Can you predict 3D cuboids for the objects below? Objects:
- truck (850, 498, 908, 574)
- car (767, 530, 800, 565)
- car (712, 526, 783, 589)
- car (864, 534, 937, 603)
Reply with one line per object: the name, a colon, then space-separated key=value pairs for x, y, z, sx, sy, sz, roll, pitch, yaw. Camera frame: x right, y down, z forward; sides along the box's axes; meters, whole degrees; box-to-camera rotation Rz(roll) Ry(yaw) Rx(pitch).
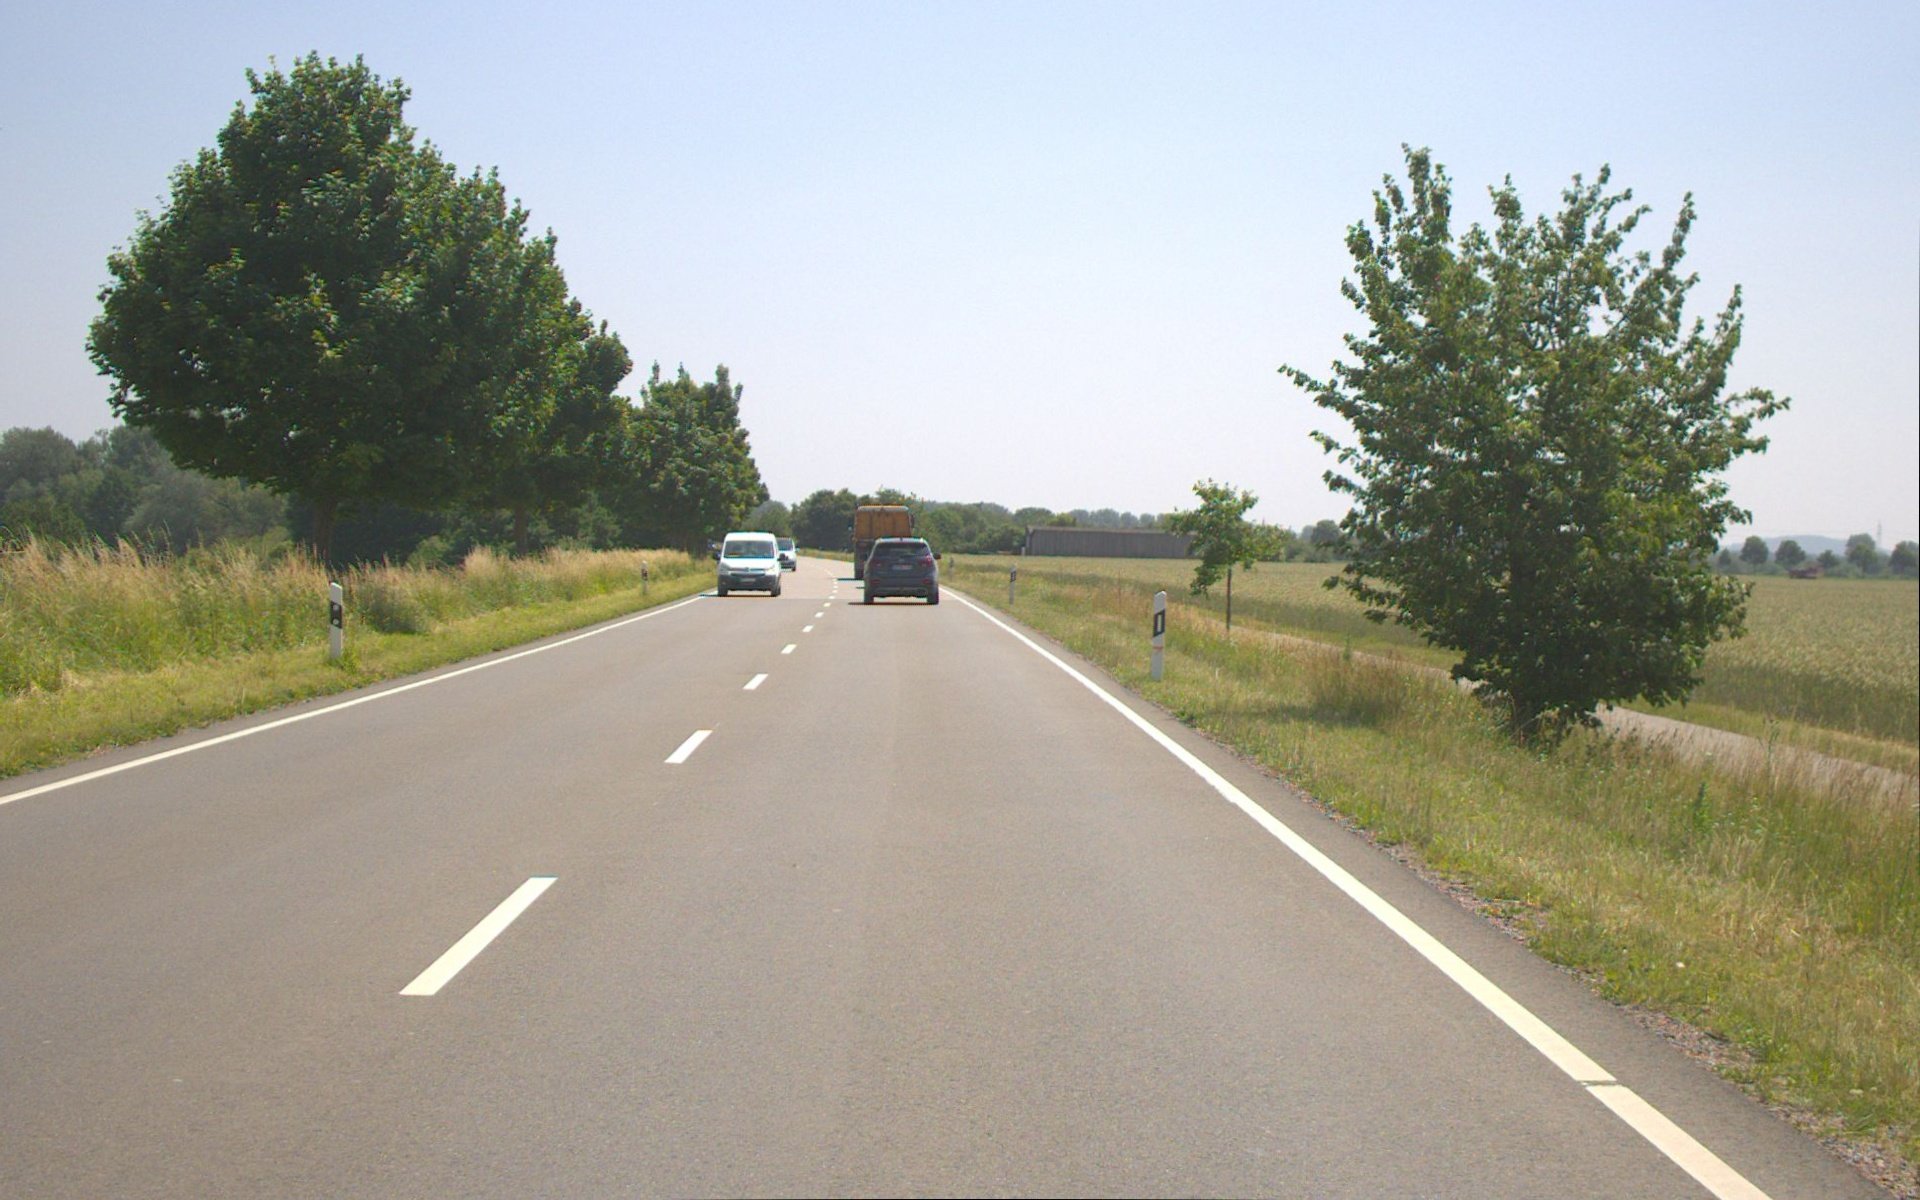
truck: x=-3.481 y=-2.721 z=147.573 sx=2.370 sy=3.129 sz=8.748 roll=1 pitch=1 yaw=-1
car: x=-9.432 y=-2.825 z=184.034 sx=1.725 sy=1.834 sz=4.000 roll=1 pitch=1 yaw=-3
car: x=-6.072 y=-1.218 z=98.754 sx=1.787 sy=1.722 sz=4.304 roll=1 pitch=1 yaw=0
car: x=-1.491 y=-0.797 z=87.172 sx=1.714 sy=1.688 sz=3.989 roll=1 pitch=1 yaw=1
